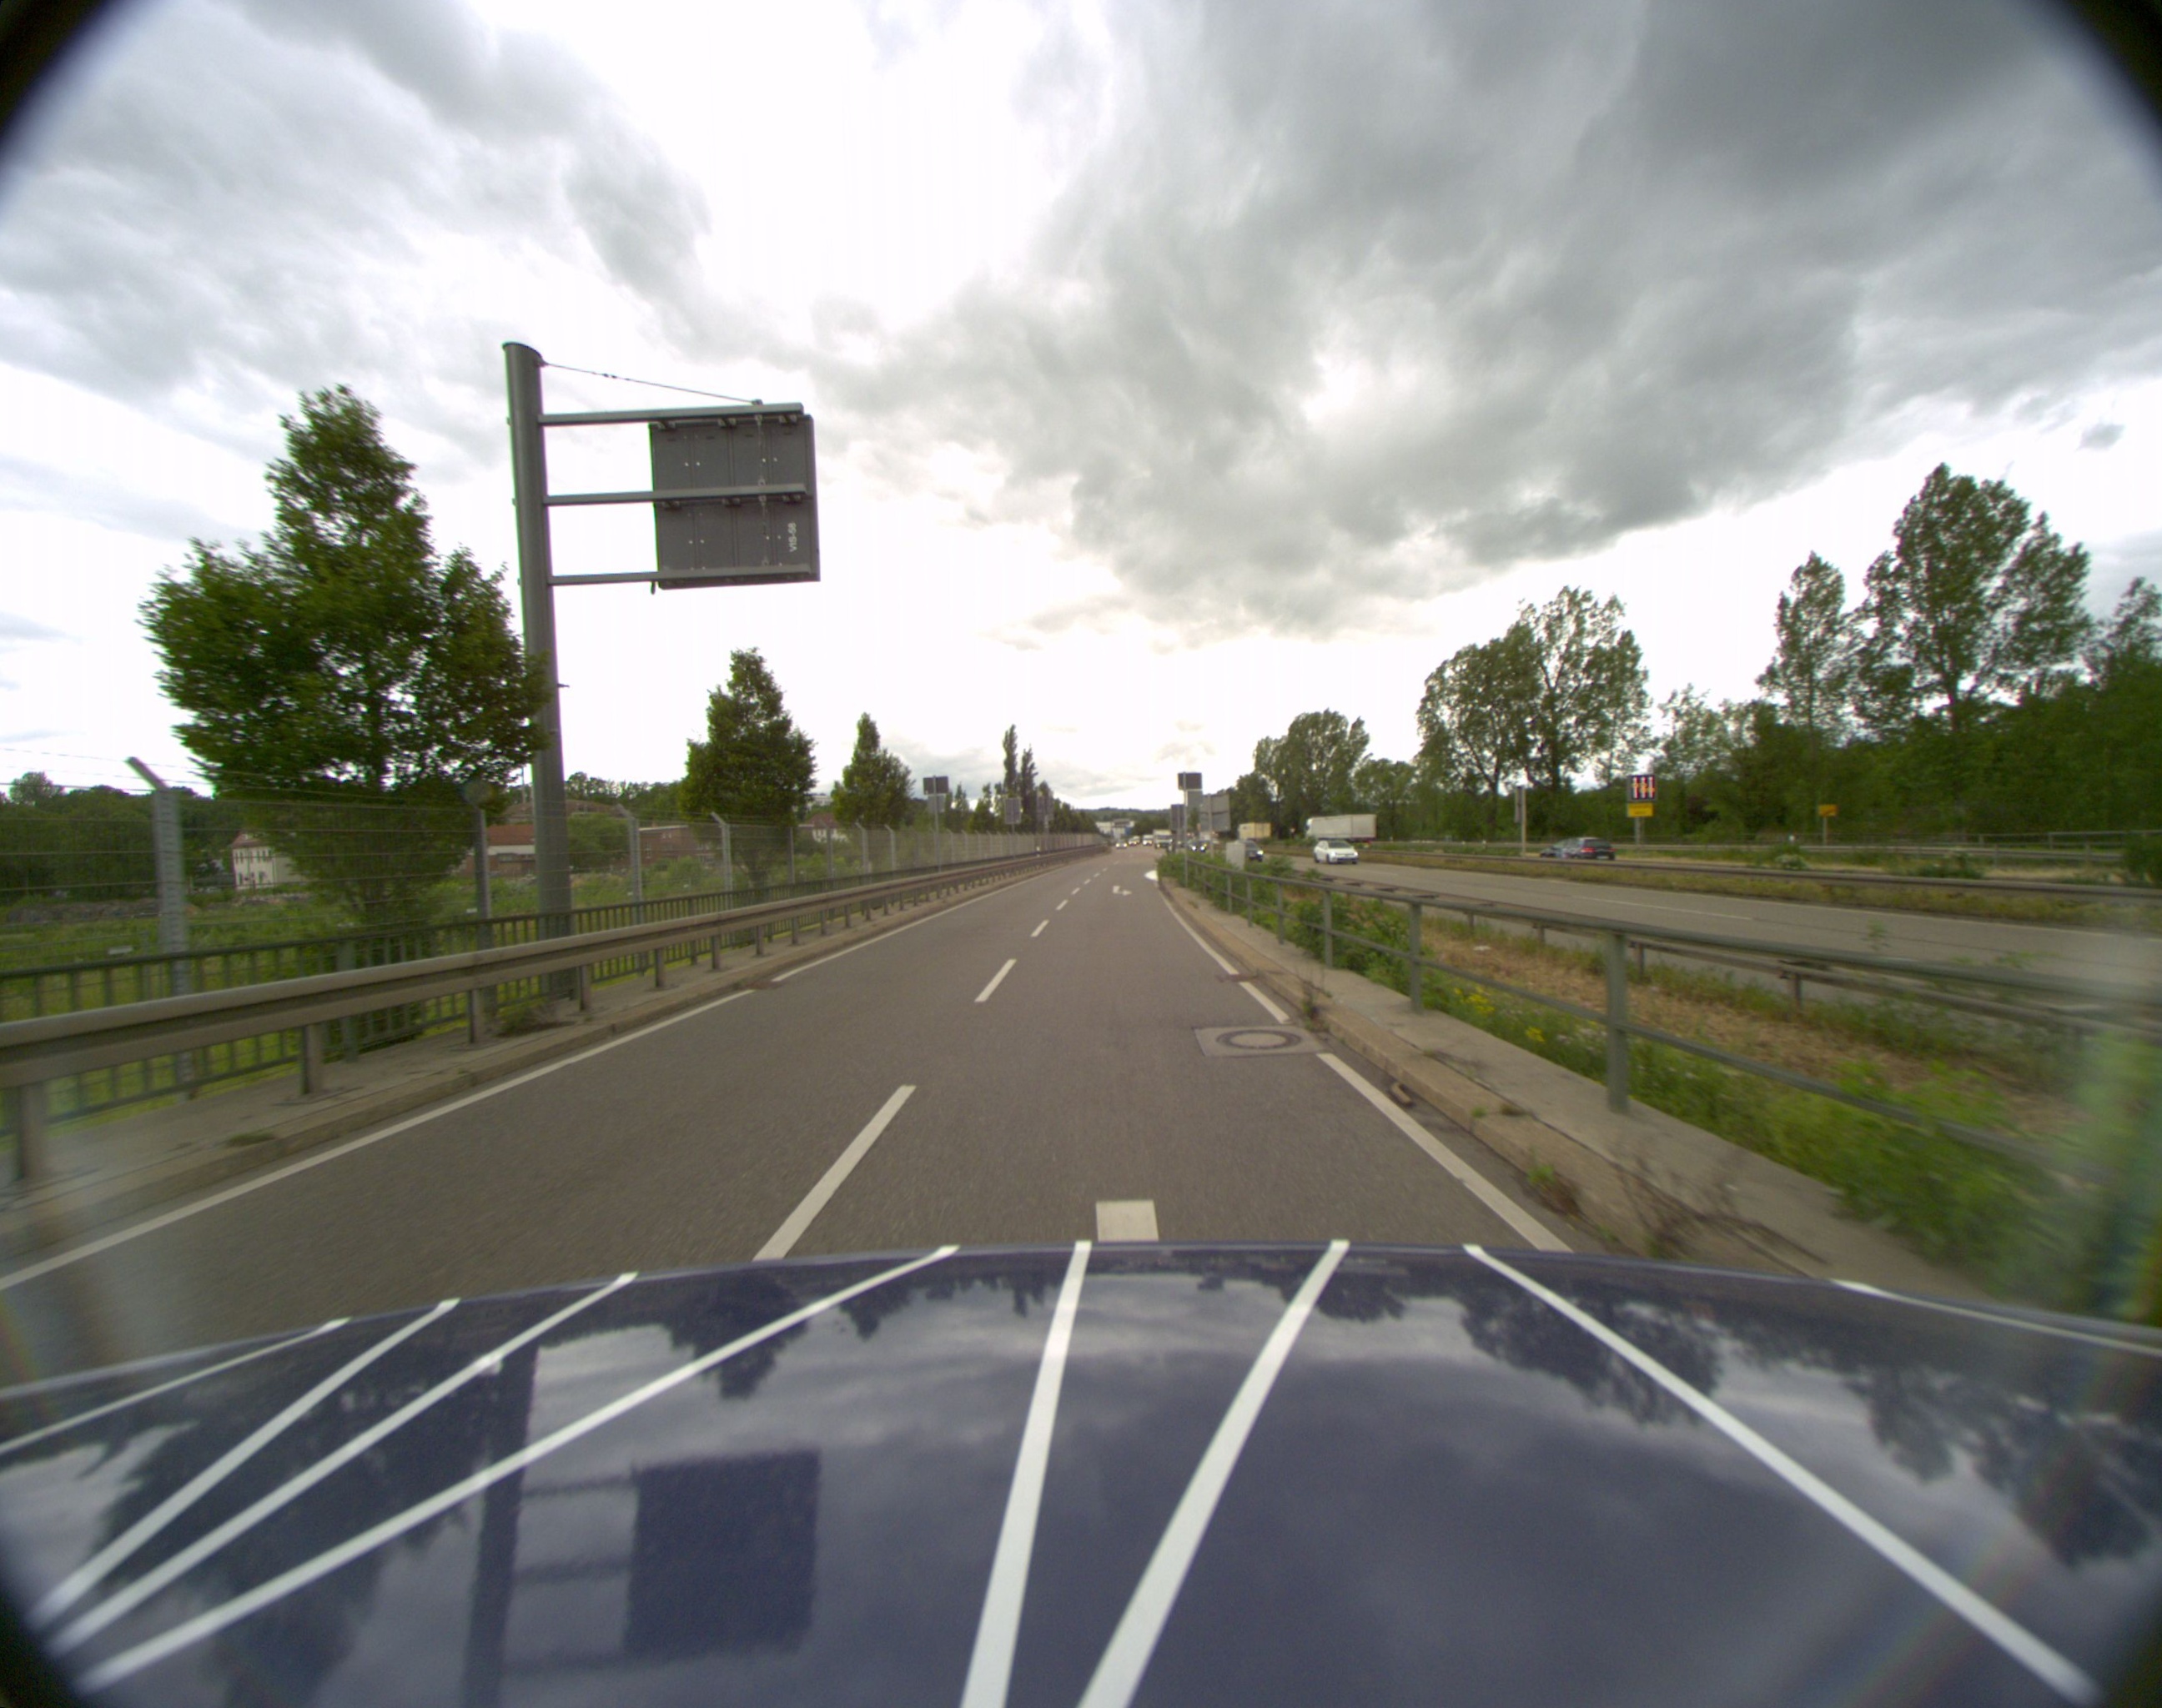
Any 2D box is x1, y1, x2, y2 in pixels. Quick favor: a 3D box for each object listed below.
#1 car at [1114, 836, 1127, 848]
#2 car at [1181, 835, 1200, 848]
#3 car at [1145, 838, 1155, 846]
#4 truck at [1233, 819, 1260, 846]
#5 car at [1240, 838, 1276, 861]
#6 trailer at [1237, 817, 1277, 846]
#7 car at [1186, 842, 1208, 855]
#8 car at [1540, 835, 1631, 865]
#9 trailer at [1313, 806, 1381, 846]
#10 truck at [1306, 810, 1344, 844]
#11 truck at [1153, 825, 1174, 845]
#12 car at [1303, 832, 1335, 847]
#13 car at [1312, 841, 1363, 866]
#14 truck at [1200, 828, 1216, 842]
[{"bbox_3d":[6.994,-2.145,133.515,1.997,2.002,4.000,-2,2,6],"label":"car"},{"bbox_3d":[18.396,-2.115,127.889,2.099,2.002,5.336,-1,2,-2],"label":"car"},{"bbox_3d":[16.940,-2.980,187.203,1.998,2.002,3.999,-1,1,0],"label":"car"},{"bbox_3d":[30.315,-3.892,139.514,3.472,4.646,6.210,-2,1,0],"label":"truck"},{"bbox_3d":[12.237,-0.319,52.740,1.939,1.492,4.305,0,0,6],"label":"car"},{"bbox_3d":[30.299,-3.744,131.558,3.472,4.646,14.779,-2,1,0],"label":"trailer"},{"bbox_3d":[12.456,-0.570,81.536,1.728,1.319,3.647,-1,1,-1],"label":"car"},{"bbox_3d":[25.677,-0.206,38.849,1.998,1.427,4.000,-1,1,1],"label":"car"},{"bbox_3d":[29.257,-3.057,84.396,2.797,3.927,13.509,-3,1,1],"label":"trailer"},{"bbox_3d":[29.321,-3.237,91.667,2.796,3.915,5.311,-3,2,0],"label":"truck"},{"bbox_3d":[13.711,-3.193,127.111,3.039,3.141,7.567,-1,2,2],"label":"truck"},{"bbox_3d":[25.194,-1.548,80.575,1.999,1.513,3.998,-3,2,-1],"label":"car"},{"bbox_3d":[15.864,-0.054,47.171,1.859,1.491,3.999,-1,1,0],"label":"car"},{"bbox_3d":[34.199,-5.033,204.951,2.991,3.623,6.335,-3,1,-2],"label":"truck"}]
